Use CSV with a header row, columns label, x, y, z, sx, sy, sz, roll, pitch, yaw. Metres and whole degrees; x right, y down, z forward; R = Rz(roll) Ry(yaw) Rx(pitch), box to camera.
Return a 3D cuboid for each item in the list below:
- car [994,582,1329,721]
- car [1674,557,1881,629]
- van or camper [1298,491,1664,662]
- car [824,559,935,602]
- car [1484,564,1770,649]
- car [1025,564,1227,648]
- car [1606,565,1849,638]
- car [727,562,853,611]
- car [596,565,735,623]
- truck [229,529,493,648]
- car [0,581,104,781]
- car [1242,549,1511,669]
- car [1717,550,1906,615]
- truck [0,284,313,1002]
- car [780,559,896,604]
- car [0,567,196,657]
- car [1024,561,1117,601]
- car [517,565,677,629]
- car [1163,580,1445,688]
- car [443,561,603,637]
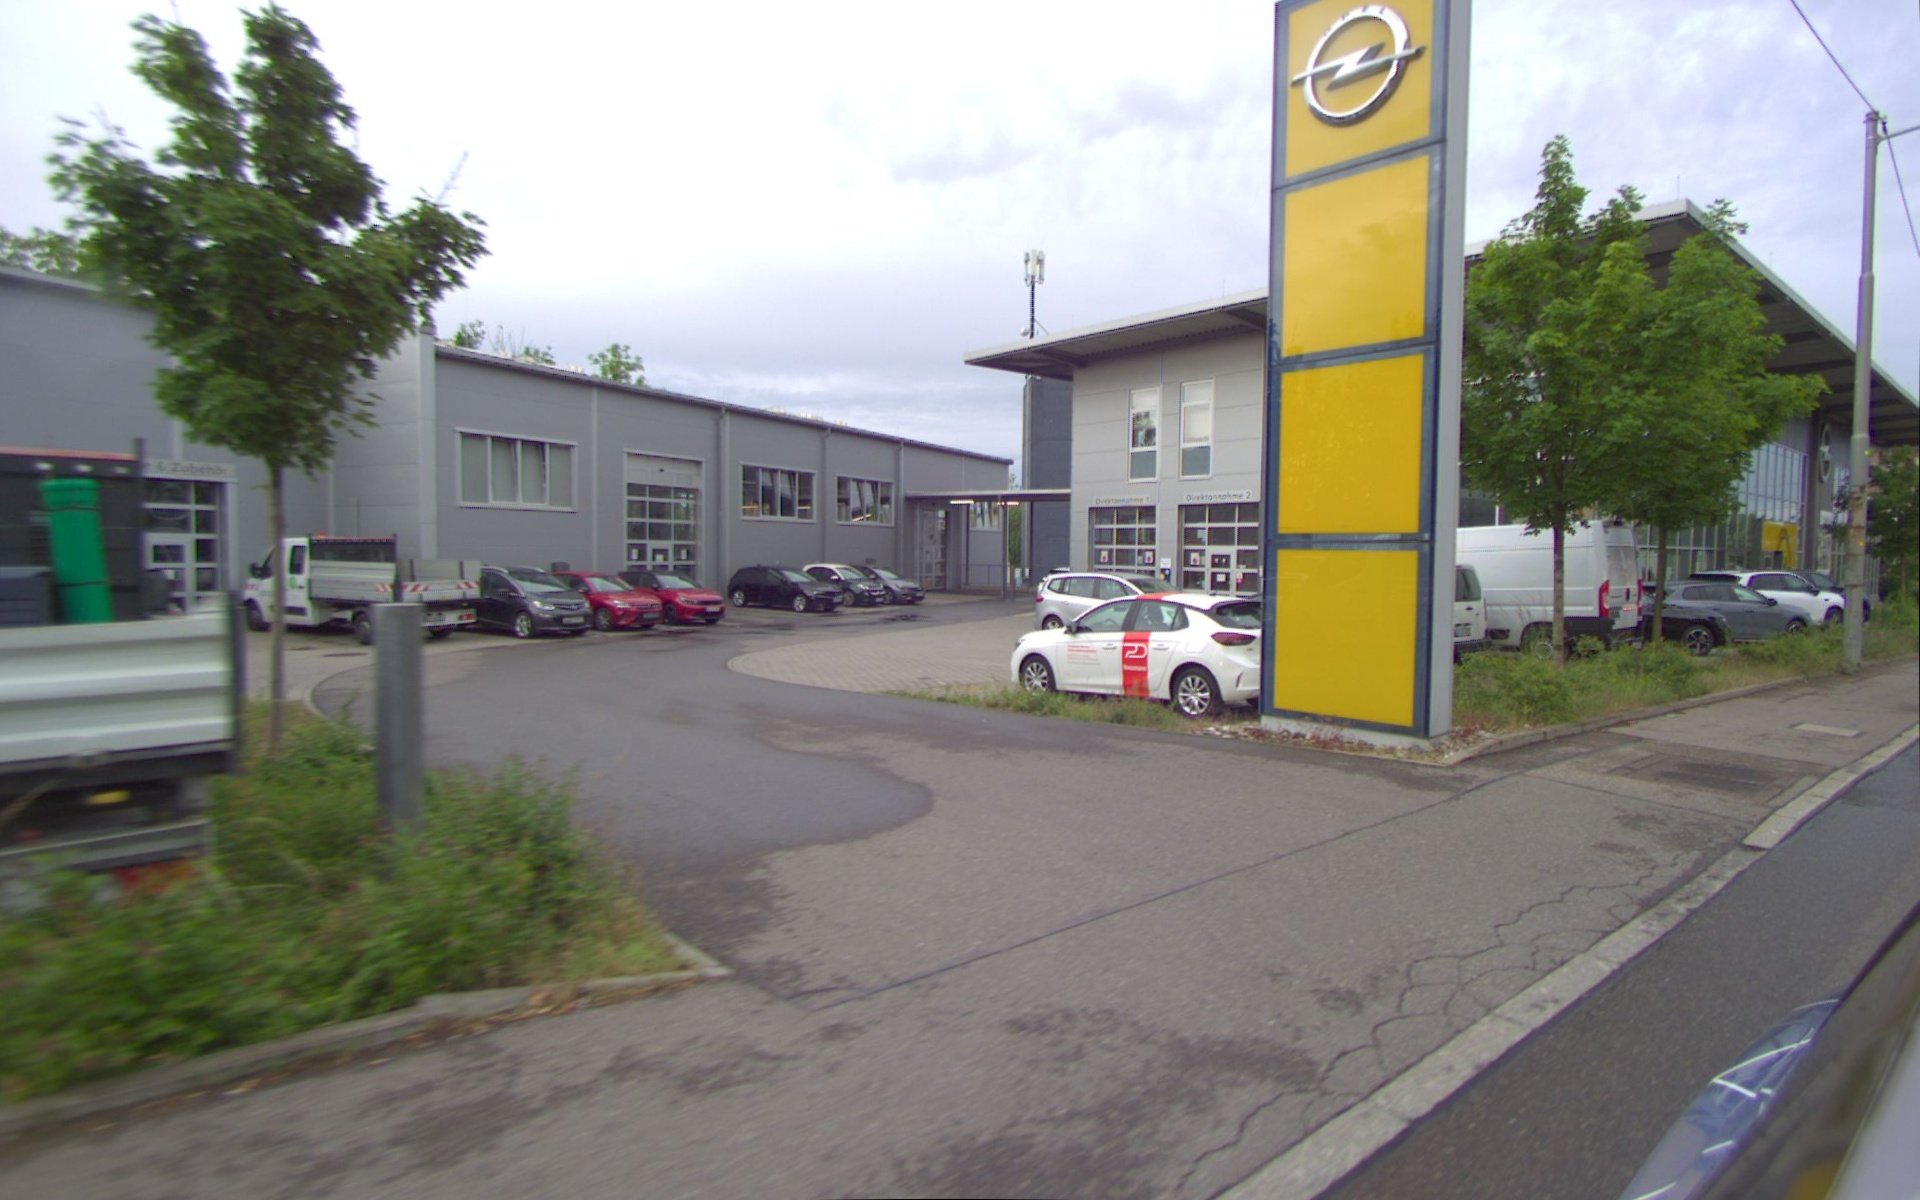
label,x,y,z,sx,sy,sz,roll,pitch,yaw
car,2.459,0.540,13.164,1.861,1.446,3.996,1,1,-39
car,21.454,-0.198,26.592,4.481,1.731,2.006,1,3,-17
van or camper,9.680,-0.442,19.313,2.310,2.758,5.748,0,1,-40
car,-3.110,-0.767,38.975,3.966,1.569,1.828,2,1,30
car,13.614,0.090,20.928,4.441,1.472,1.913,2,3,7
car,3.542,0.058,22.199,1.834,1.660,4.146,0,2,-42
car,17.508,0.020,23.153,4.476,1.472,1.921,1,3,-13
car,-5.751,-0.500,34.175,3.967,1.440,1.822,4,4,30
car,-8.423,-0.221,28.841,3.977,1.526,1.806,2,2,37
truck,-13.792,-0.410,23.201,6.220,2.262,2.345,3,6,29
car,-8.872,0.610,9.264,1.530,1.538,3.699,0,1,-40
car,7.344,0.071,18.179,1.810,1.869,4.138,-3,3,-38
car,24.963,-0.526,29.733,4.335,1.731,2.005,1,3,-14
truck,-4.748,0.064,4.512,2.305,2.039,5.155,1,1,-42
car,-4.507,-0.694,37.315,3.966,1.569,1.828,2,1,30
car,-16.822,0.174,19.544,3.864,1.571,1.809,1,1,27
car,4.254,-0.711,38.382,1.985,1.438,3.954,1,1,32
car,-9.564,-0.122,26.614,3.964,1.526,1.812,2,2,28
car,5.411,0.436,16.300,1.717,1.448,3.995,-3,3,-40
car,-10.551,-0.080,24.333,3.977,1.652,1.806,2,2,37
